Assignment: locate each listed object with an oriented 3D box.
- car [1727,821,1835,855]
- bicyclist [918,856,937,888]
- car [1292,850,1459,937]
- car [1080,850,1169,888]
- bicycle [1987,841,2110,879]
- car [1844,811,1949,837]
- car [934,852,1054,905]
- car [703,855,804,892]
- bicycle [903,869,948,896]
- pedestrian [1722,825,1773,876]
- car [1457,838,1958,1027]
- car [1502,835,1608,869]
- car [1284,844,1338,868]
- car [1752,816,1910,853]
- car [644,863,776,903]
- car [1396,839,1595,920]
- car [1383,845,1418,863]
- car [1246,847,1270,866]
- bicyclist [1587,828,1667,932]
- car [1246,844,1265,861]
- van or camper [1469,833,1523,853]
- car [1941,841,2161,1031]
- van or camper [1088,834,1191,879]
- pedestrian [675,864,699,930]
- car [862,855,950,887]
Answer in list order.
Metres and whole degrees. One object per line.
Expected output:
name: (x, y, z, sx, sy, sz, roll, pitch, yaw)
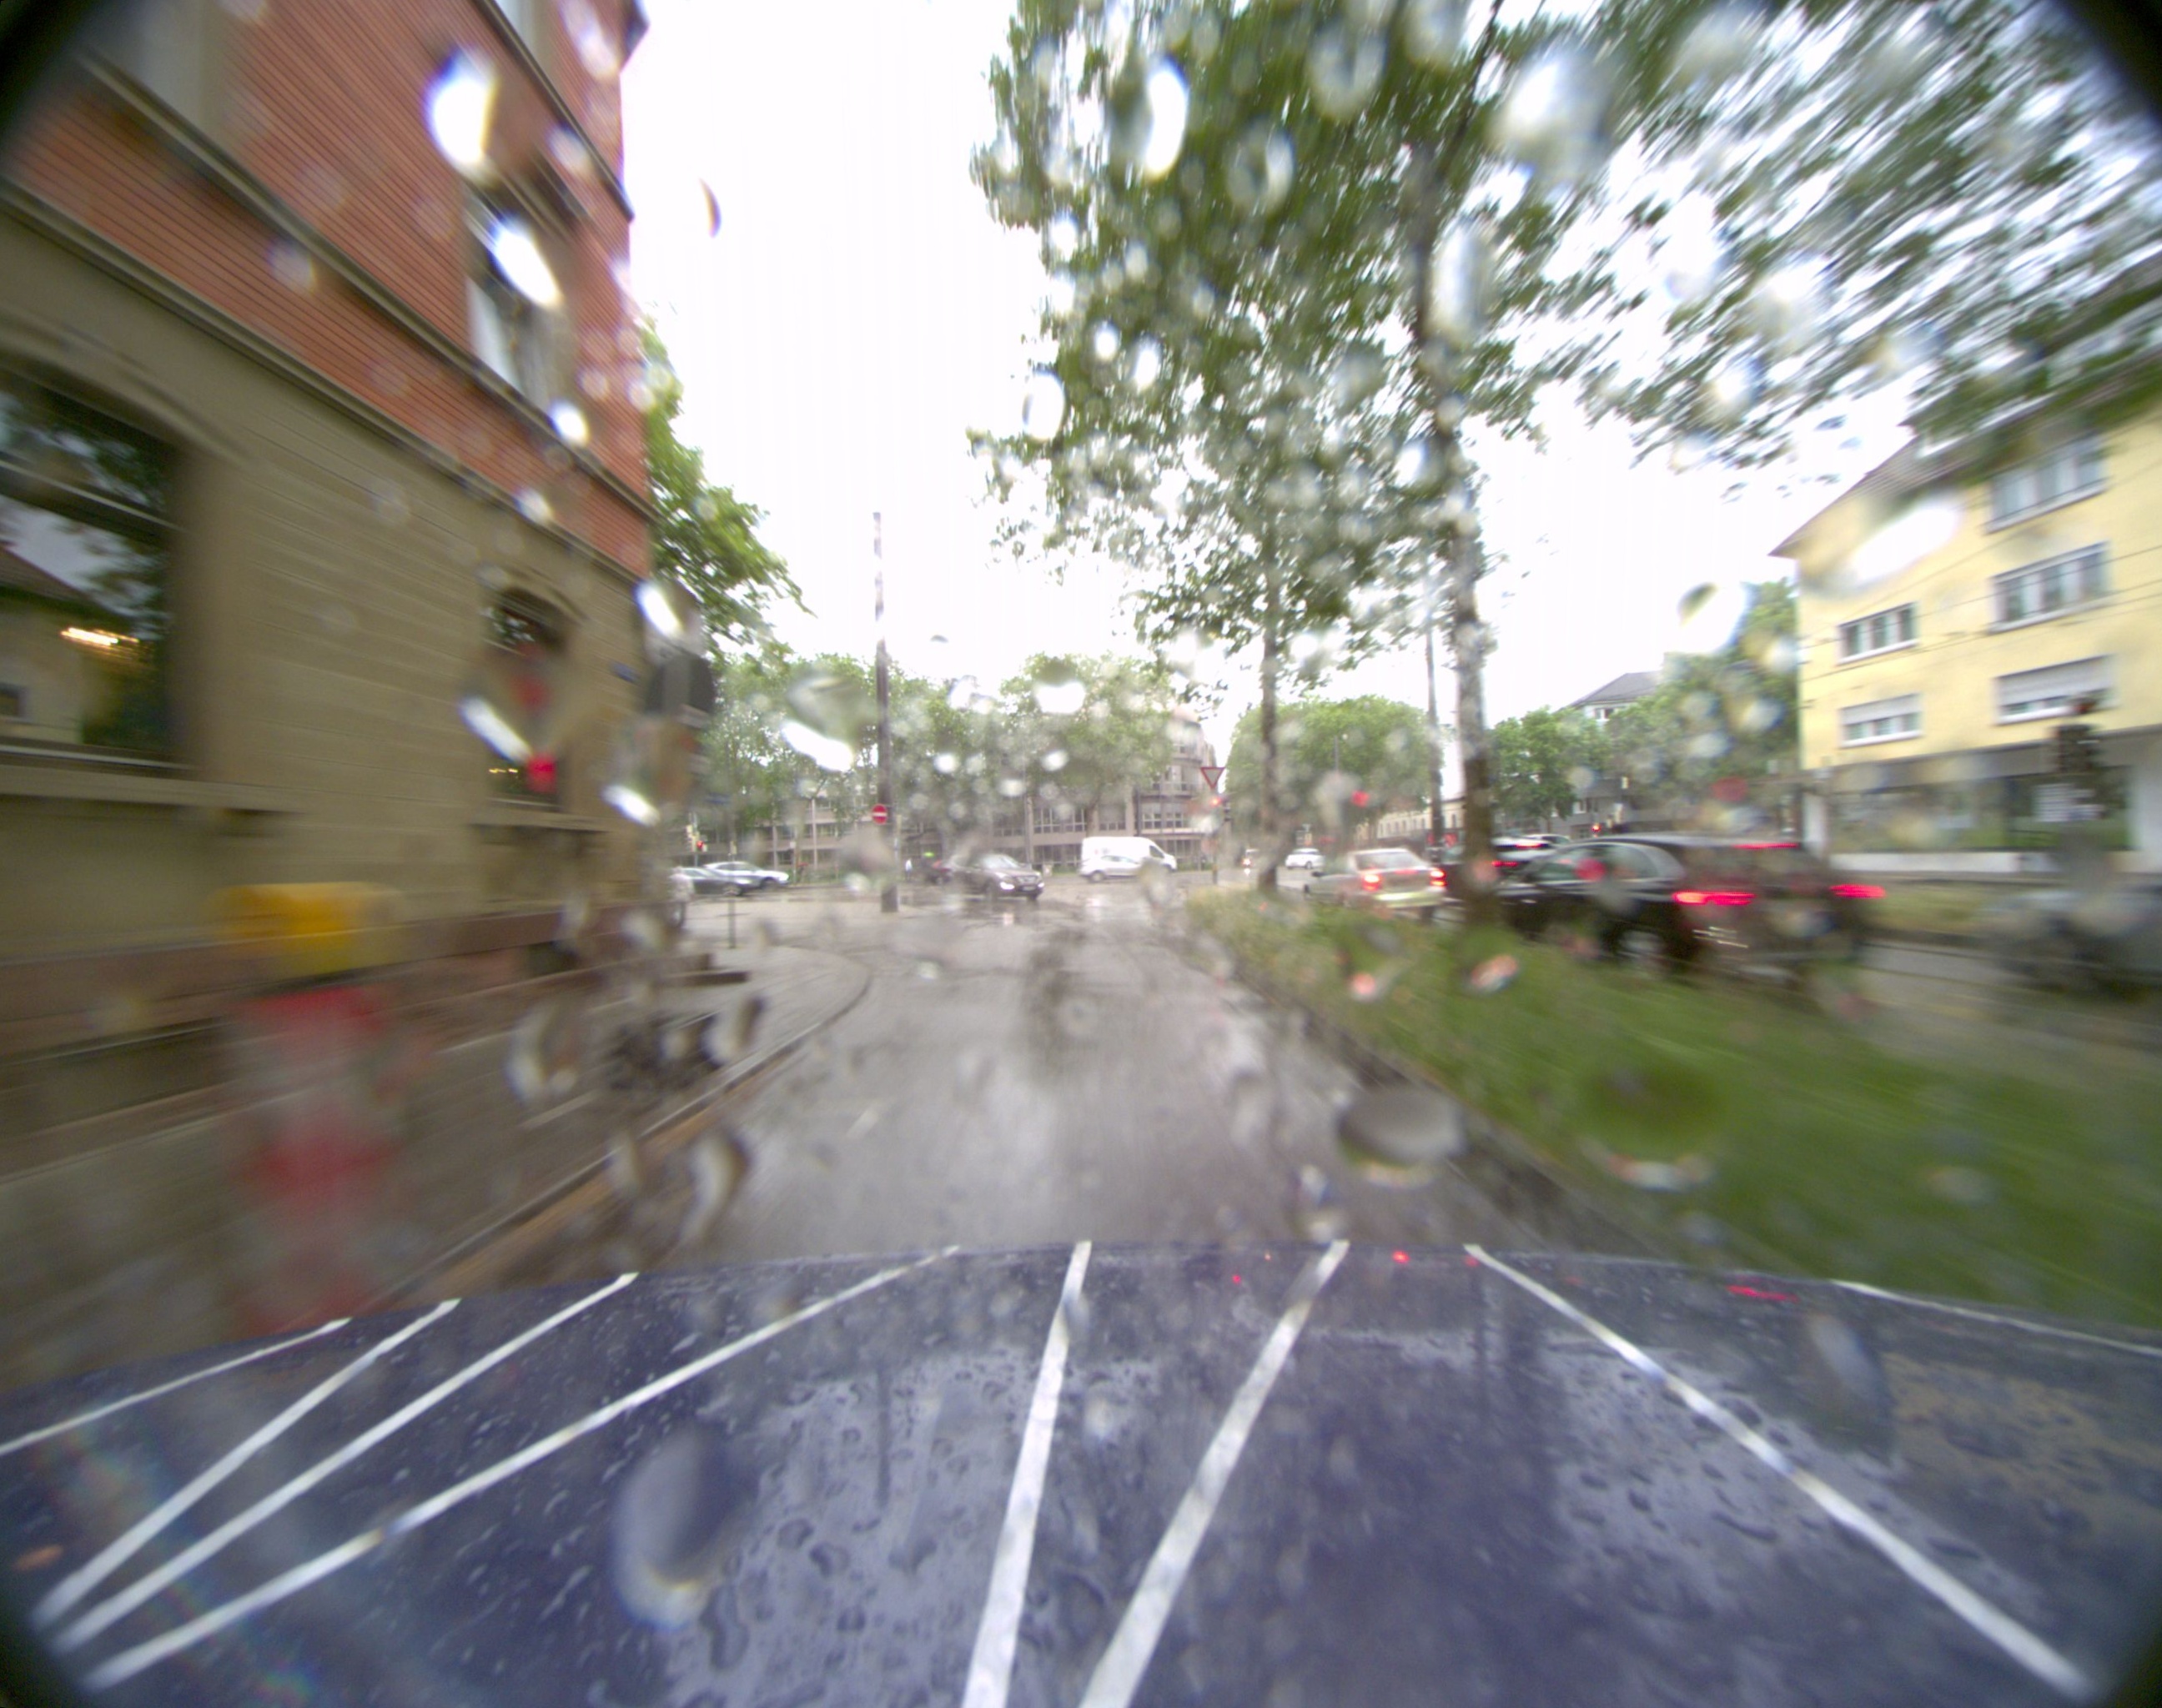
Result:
car: (39.558, -0.892, 43.037, 4.185, 1.700, 1.808, -2, 1, 8)
bicyclist: (-7.308, 0.832, 36.226, 0.805, 1.462, 0.927, -1, 2, -8)
car: (5.878, 0.706, 15.788, 1.739, 1.480, 4.501, -3, 0, 1)
car: (2.258, 0.774, 39.718, 4.267, 1.731, 1.975, -2, 1, -9)
bicycle: (24.861, 0.144, 19.593, 0.613, 0.891, 2.046, -2, 0, 2)
car: (49.045, -1.799, 45.788, 3.823, 1.451, 1.891, 1, 1, 20)
car: (-3.202, 0.816, 27.182, 1.918, 1.637, 4.667, -3, 2, -41)
car: (-17.218, 1.007, 40.183, 4.558, 1.650, 1.785, -3, 1, -14)
bicycle: (-7.355, 1.338, 36.061, 1.998, 1.082, 0.818, -3, 2, -9)
pedestrian: (22.716, -0.108, 25.901, 1.015, 1.668, 0.815, -2, 1, 14)
car: (6.316, 0.658, 8.594, 1.861, 1.476, 4.640, -3, 0, 1)
car: (25.990, -0.130, 41.744, 4.678, 1.637, 1.913, -2, 1, -4)
car: (17.016, 0.140, 56.213, 4.081, 1.578, 1.803, -3, 1, -39)
car: (35.745, -0.870, 36.414, 2.002, 1.465, 4.981, -2, 0, -21)
car: (-17.715, 1.350, 36.546, 5.337, 1.583, 1.947, -3, 0, -11)
car: (9.022, 0.508, 17.022, 1.879, 1.493, 4.283, -2, 0, -3)
car: (29.276, -0.012, 69.558, 1.807, 1.528, 4.199, -2, 0, 39)
car: (18.440, 0.216, 79.108, 1.800, 1.761, 4.005, -4, 0, 20)
bicyclist: (9.397, 0.420, 13.117, 0.714, 1.706, 0.889, -2, 2, -2)
car: (19.729, -0.171, 85.764, 2.001, 1.761, 4.004, -1, 0, 14)
van or camper: (44.702, -1.225, 81.918, 4.647, 2.063, 2.001, -1, 1, 11)
car: (9.008, 0.608, 5.134, 1.745, 1.389, 4.130, -3, 0, 1)
van or camper: (3.640, 0.117, 47.006, 5.977, 2.457, 2.178, -2, 1, -24)
pedestrian: (-10.851, 1.189, 20.915, 0.567, 1.762, 1.203, 1, -3, -28)
car: (-9.663, 0.899, 42.047, 4.558, 1.504, 1.785, -3, 1, -14)
